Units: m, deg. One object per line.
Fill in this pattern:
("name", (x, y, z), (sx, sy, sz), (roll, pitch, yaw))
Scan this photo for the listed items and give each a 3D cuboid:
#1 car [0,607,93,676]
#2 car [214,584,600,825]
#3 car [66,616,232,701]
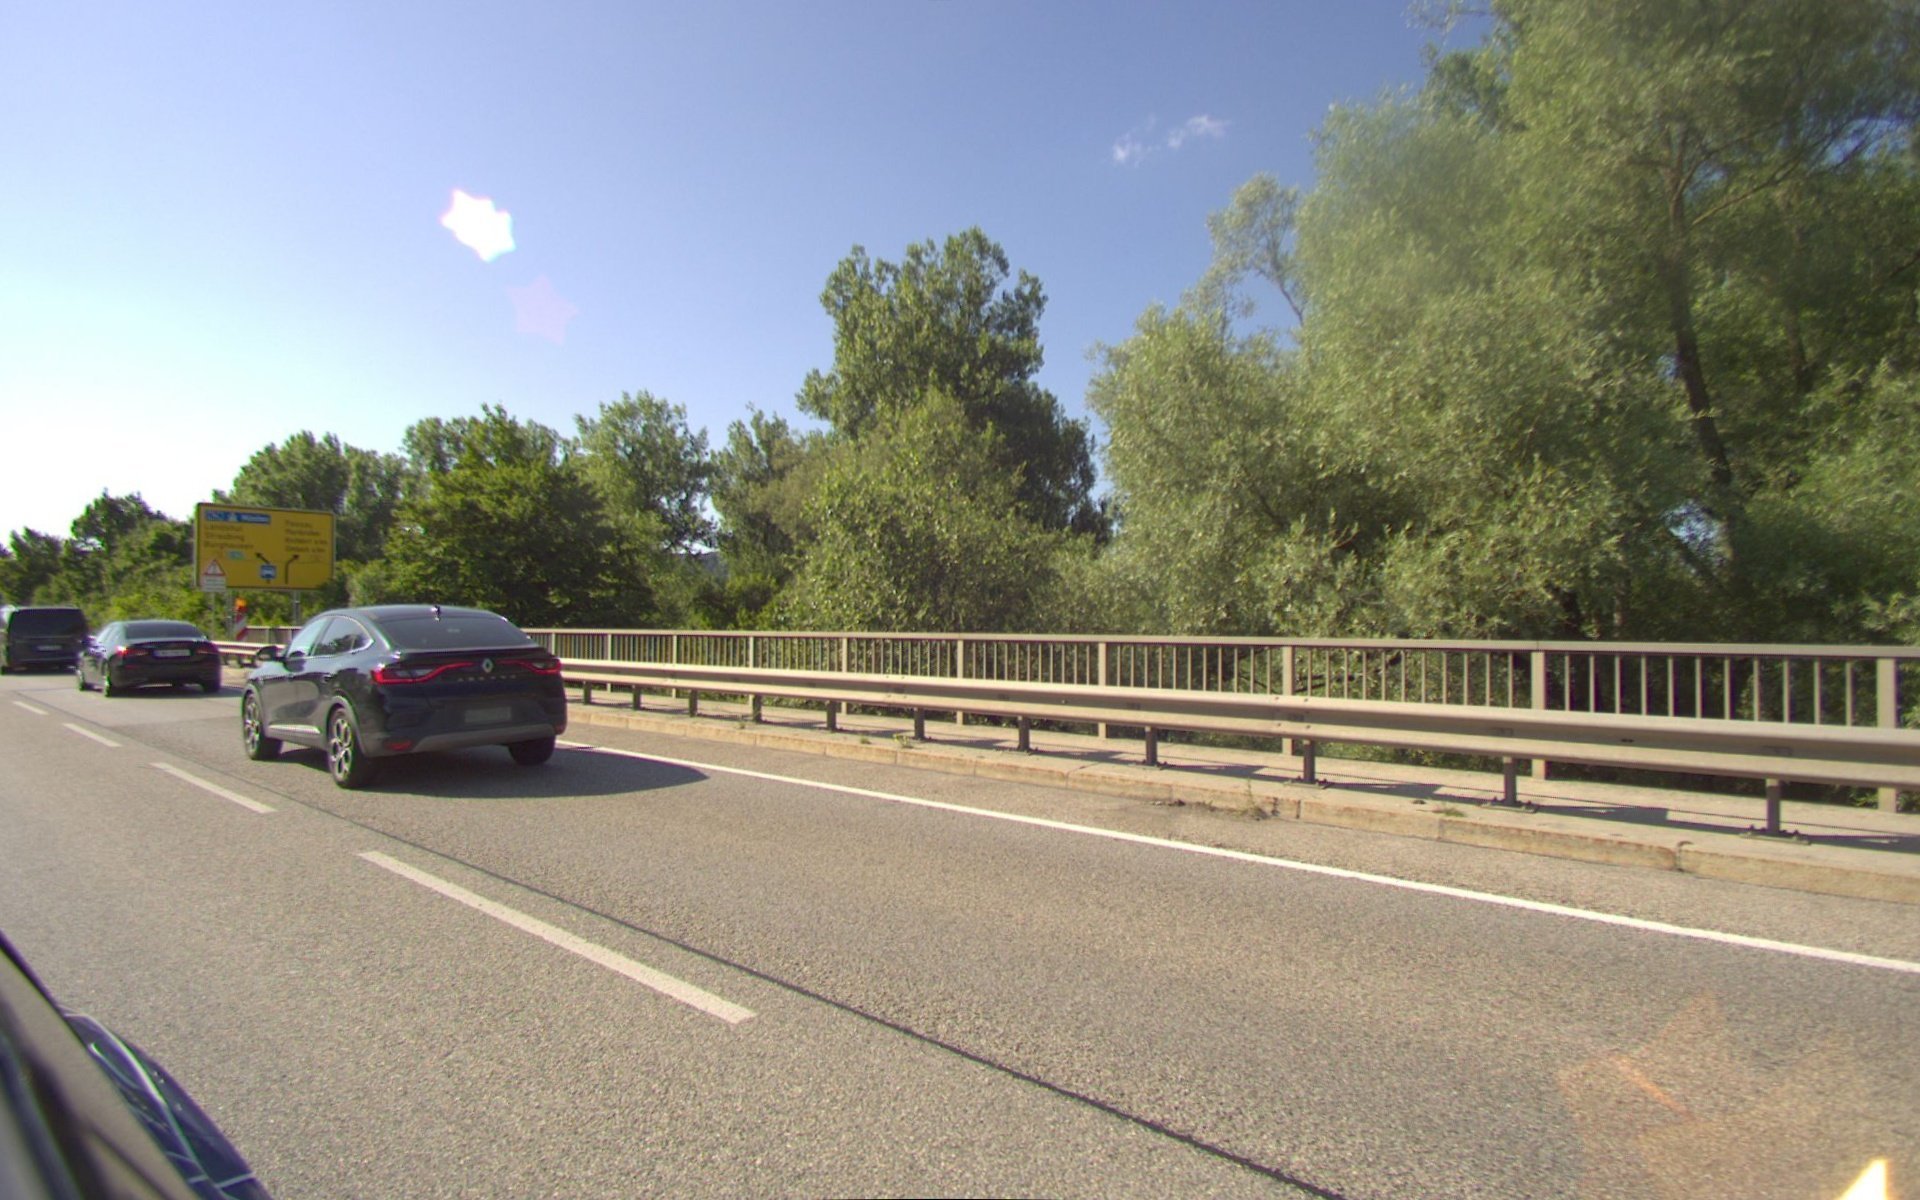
("car", (-26.463, 1.139, 28.980), (4.529, 1.820, 1.946), (-1, -1, 42))
("car", (-5.568, 0.831, 9.912), (4.529, 1.820, 1.946), (-1, -1, 42))
("car", (-16.233, 1.091, 20.184), (4.271, 1.499, 1.869), (-2, -1, 41))
